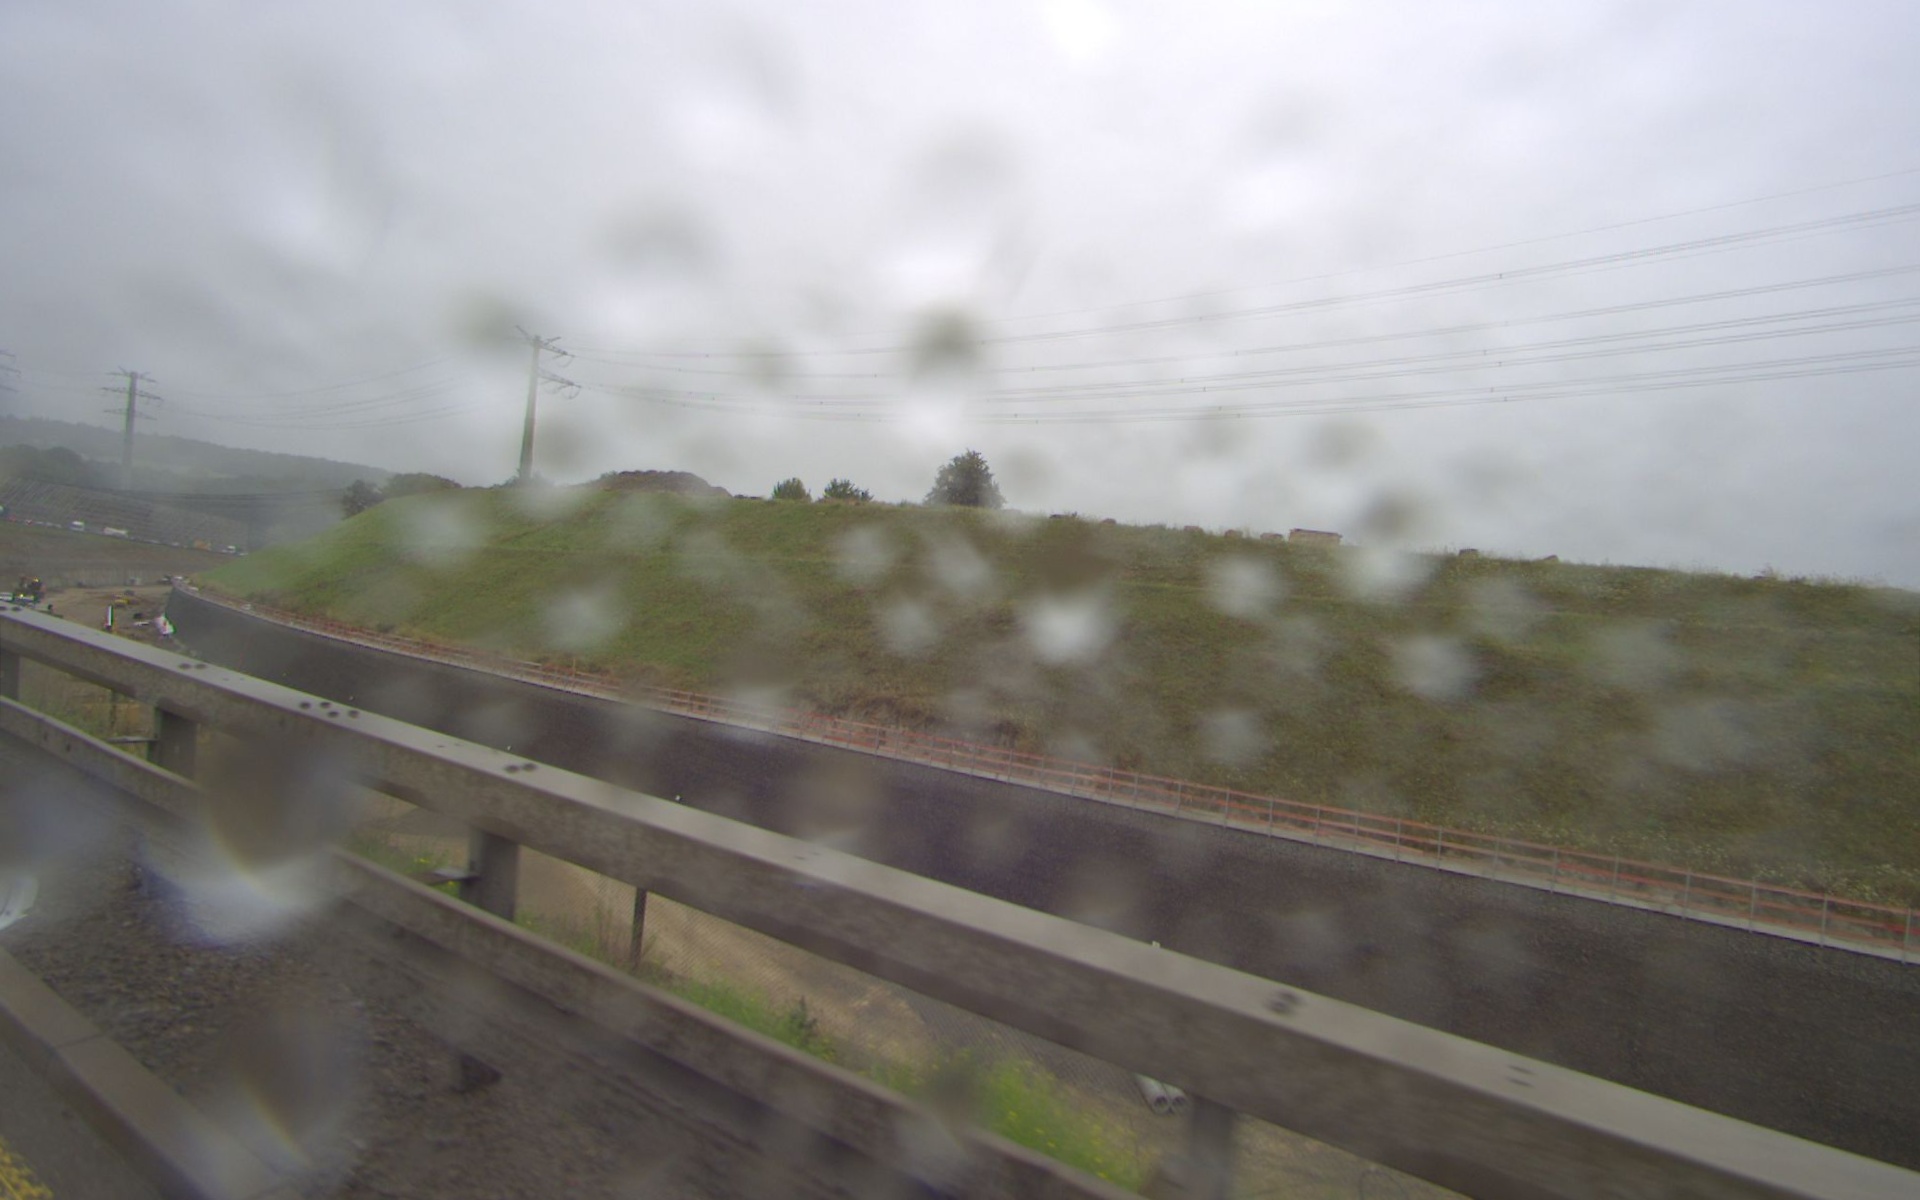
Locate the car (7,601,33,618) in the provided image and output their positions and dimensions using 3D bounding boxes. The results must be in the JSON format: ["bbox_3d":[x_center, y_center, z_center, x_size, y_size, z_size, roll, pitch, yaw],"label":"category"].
[{"bbox_3d":[-128.481,1.294,137.510,3.942,1.837,1.993,6,-2,39],"label":"car"}]

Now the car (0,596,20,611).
[{"bbox_3d":[-162.207,0.558,171.780,1.987,2.036,3.956,9,-3,-40],"label":"car"}]

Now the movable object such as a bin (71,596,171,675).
[{"bbox_3d":[-50.487,2.143,60.550,4.056,3.910,3.220,8,-3,35],"label":"movable object such as a bin"}]

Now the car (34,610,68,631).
[{"bbox_3d":[-114.476,2.603,126.708,3.939,2.036,2.367,6,-3,37],"label":"car"}]
